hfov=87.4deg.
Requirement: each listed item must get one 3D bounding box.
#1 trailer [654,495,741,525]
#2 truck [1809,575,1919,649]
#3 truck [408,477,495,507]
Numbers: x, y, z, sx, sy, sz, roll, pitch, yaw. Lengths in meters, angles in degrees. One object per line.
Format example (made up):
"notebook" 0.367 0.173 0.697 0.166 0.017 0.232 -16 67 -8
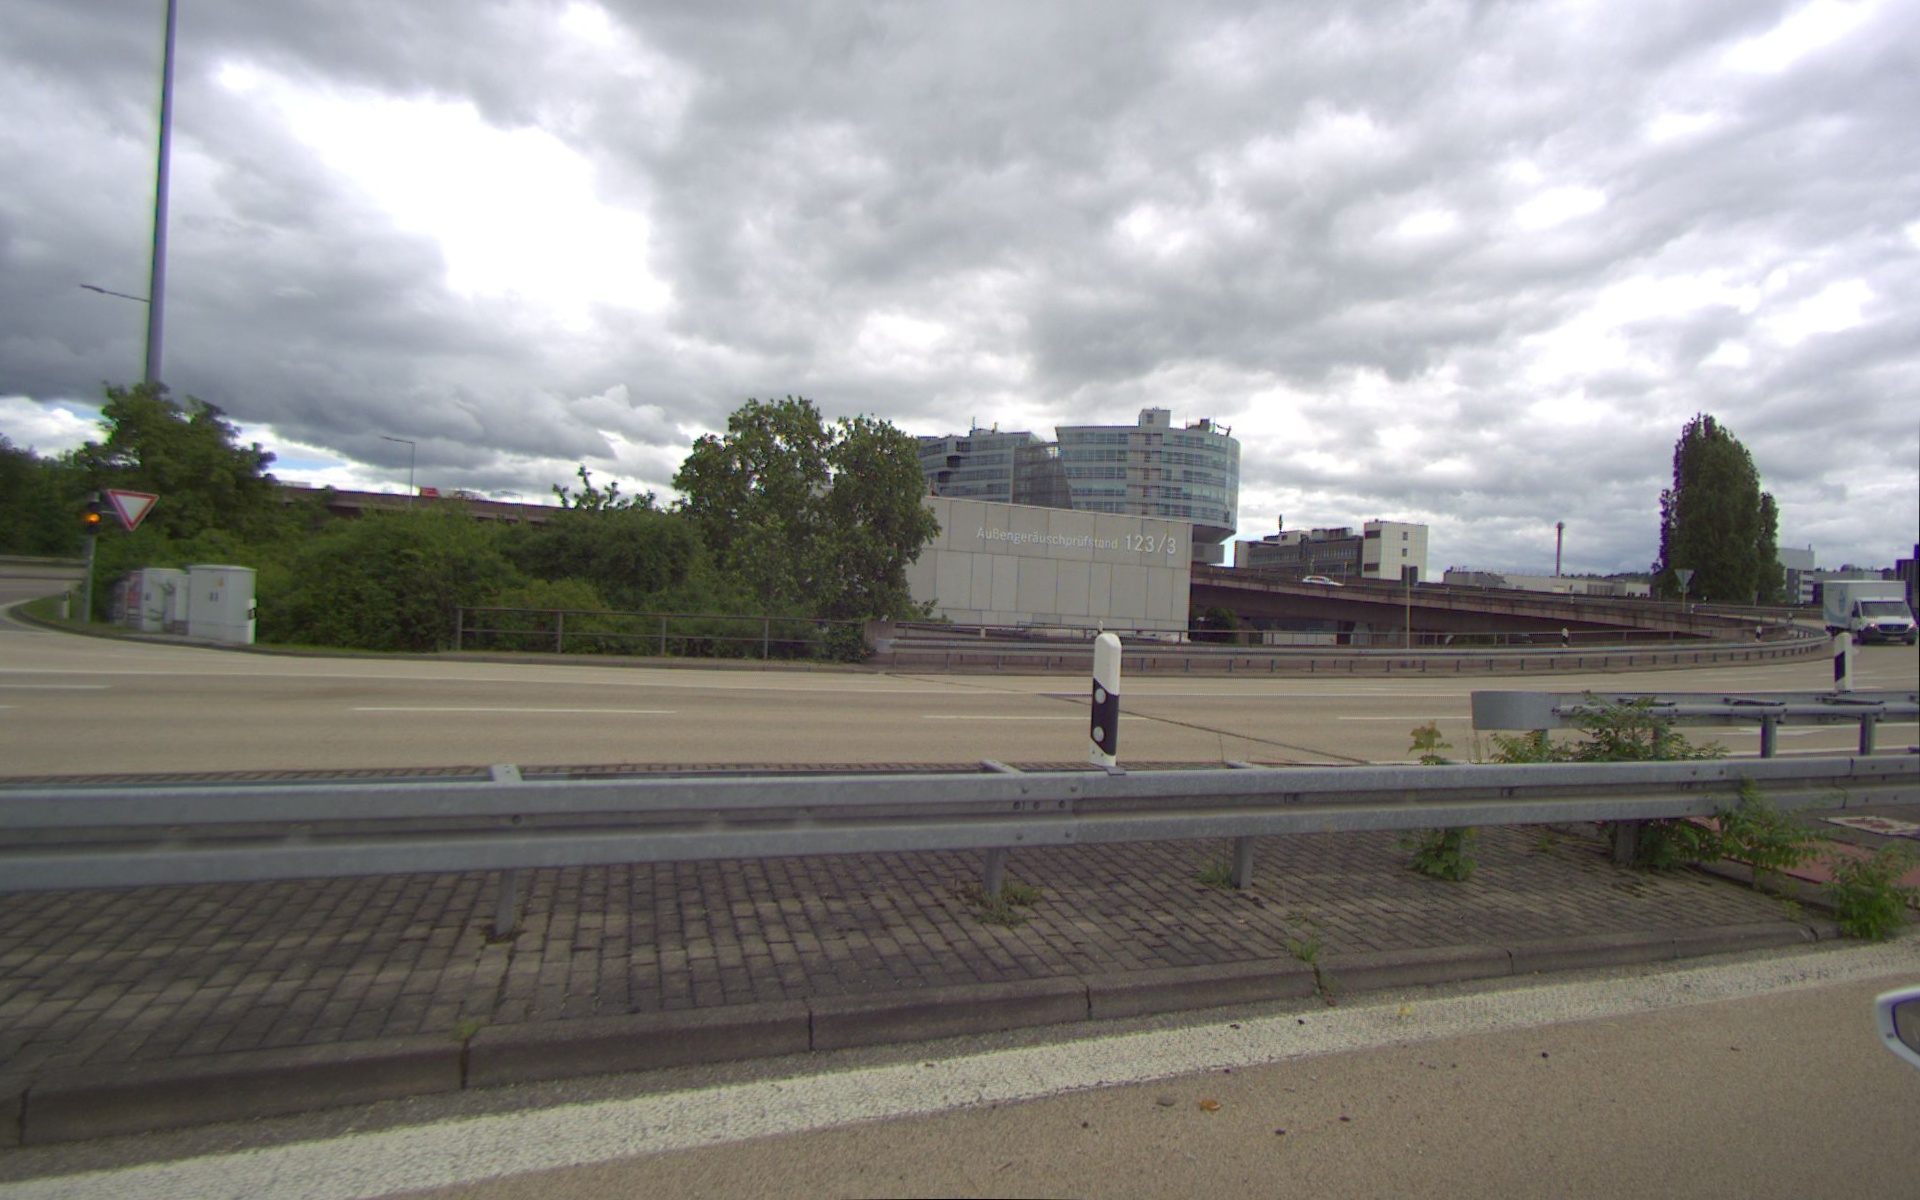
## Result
"trailer" -35.266 -12.101 134.888 10.891 3.009 2.386 5 2 2
"truck" 44.582 0.539 49.579 2.309 3.307 6.987 3 1 26
"truck" -70.494 -14.936 139.392 10.665 3.284 2.285 4 0 0
